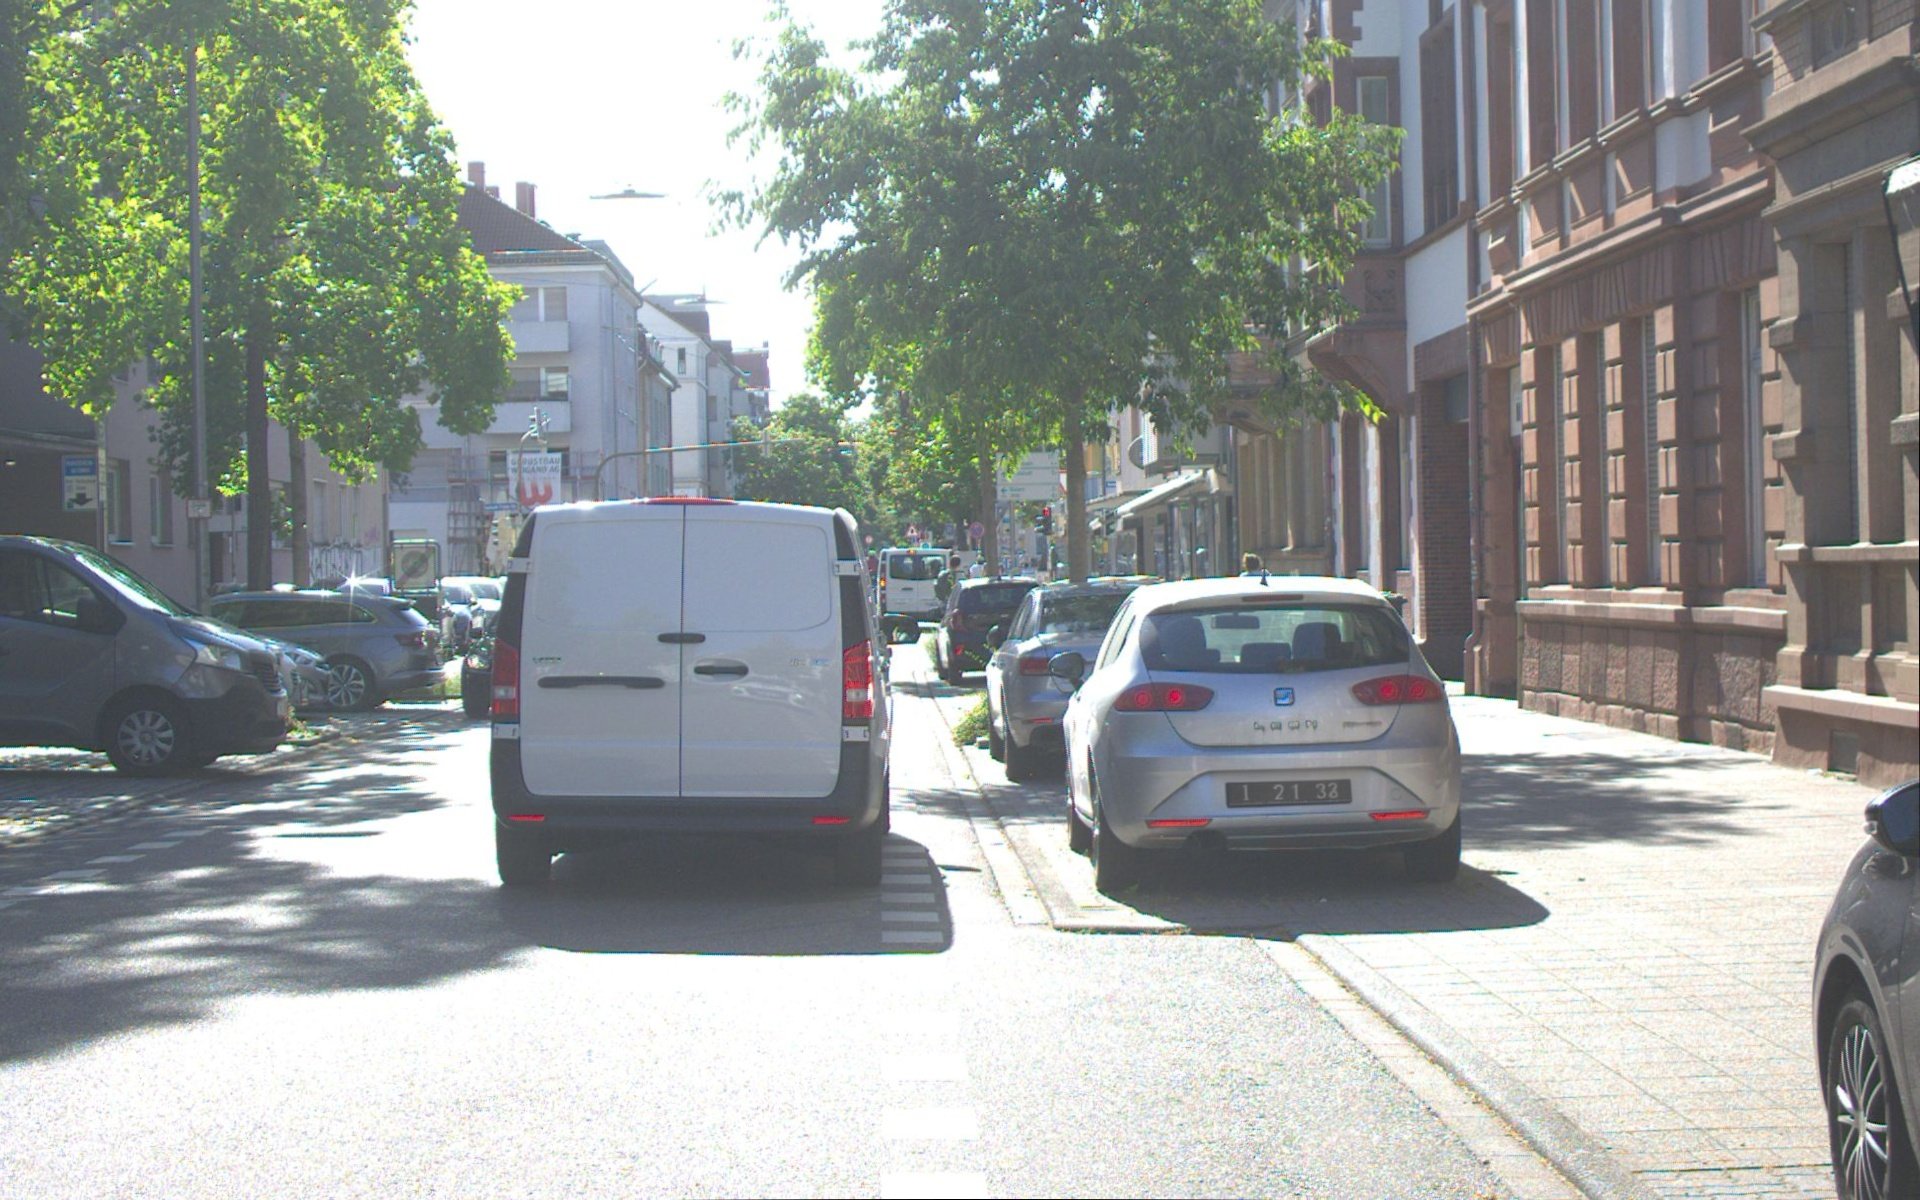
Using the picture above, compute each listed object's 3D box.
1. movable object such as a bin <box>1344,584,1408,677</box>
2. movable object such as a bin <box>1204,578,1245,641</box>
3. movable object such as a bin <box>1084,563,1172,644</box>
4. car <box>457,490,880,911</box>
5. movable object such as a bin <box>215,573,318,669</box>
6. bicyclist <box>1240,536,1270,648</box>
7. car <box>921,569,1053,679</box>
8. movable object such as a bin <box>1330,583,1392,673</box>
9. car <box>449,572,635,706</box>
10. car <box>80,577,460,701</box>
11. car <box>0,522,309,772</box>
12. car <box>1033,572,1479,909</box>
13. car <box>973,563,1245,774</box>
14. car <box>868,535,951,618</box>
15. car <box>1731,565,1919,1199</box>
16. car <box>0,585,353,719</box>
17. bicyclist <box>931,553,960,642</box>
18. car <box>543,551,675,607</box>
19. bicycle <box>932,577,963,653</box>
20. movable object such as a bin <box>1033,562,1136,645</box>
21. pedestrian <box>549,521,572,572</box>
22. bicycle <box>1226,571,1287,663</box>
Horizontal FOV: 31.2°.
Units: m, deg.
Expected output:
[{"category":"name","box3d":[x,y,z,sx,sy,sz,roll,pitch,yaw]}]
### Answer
[{"category":"movable object such as a bin","box3d":[4.899,0.350,40.461,0.638,1.065,0.639,-1,1,-2]},{"category":"movable object such as a bin","box3d":[4.426,0.161,57.525,0.598,1.039,0.546,-1,1,-2]},{"category":"movable object such as a bin","box3d":[2.867,0.055,58.706,1.040,1.343,1.106,0,1,37]},{"category":"car","box3d":[-1.535,0.412,18.103,1.920,1.907,4.889,0,1,-5]},{"category":"movable object such as a bin","box3d":[-10.701,0.315,53.049,1.231,1.445,1.075,-1,1,9]},{"category":"bicyclist","box3d":[3.876,-0.108,45.169,0.361,1.472,0.530,0,0,1]},{"category":"car","box3d":[0.357,0.314,49.516,1.635,1.471,3.581,-2,1,-3]},{"category":"movable object such as a bin","box3d":[4.856,0.338,41.616,0.638,1.065,0.632,-1,1,-2]},{"category":"car","box3d":[-4.884,0.421,40.615,1.762,1.433,3.960,-2,1,-1]},{"category":"car","box3d":[-8.431,0.462,42.259,4.305,1.455,1.762,0,1,1]},{"category":"car","box3d":[-8.142,0.352,28.101,5.292,1.967,2.015,0,1,-1]},{"category":"car","box3d":[1.373,0.612,17.416,1.738,1.446,4.000,-1,1,-2]},{"category":"car","box3d":[1.071,0.466,26.706,1.738,1.446,4.308,-1,1,-2]},{"category":"car","box3d":[-1.259,-0.586,83.685,1.815,1.914,4.645,-1,1,-3]},{"category":"car","box3d":[2.636,0.674,5.821,1.709,1.475,3.711,-1,1,-2]},{"category":"car","box3d":[-9.095,0.581,39.553,3.986,1.458,1.813,0,1,-4]},{"category":"bicyclist","box3d":[-0.247,-0.045,59.310,0.439,1.503,0.497,-2,1,-2]},{"category":"car","box3d":[-10.754,-0.643,105.513,3.986,1.634,2.000,-1,1,-5]},{"category":"bicycle","box3d":[-0.216,0.246,59.066,0.475,1.270,1.218,-1,1,-2]},{"category":"movable object such as a bin","box3d":[2.080,0.060,57.496,1.268,1.343,1.108,-2,1,-43]},{"category":"pedestrian","box3d":[-13.195,-1.754,113.447,0.683,1.658,0.601,-1,1,-3]},{"category":"bicycle","box3d":[3.899,0.214,45.338,0.536,1.145,2.124,-5,0,0]}]
